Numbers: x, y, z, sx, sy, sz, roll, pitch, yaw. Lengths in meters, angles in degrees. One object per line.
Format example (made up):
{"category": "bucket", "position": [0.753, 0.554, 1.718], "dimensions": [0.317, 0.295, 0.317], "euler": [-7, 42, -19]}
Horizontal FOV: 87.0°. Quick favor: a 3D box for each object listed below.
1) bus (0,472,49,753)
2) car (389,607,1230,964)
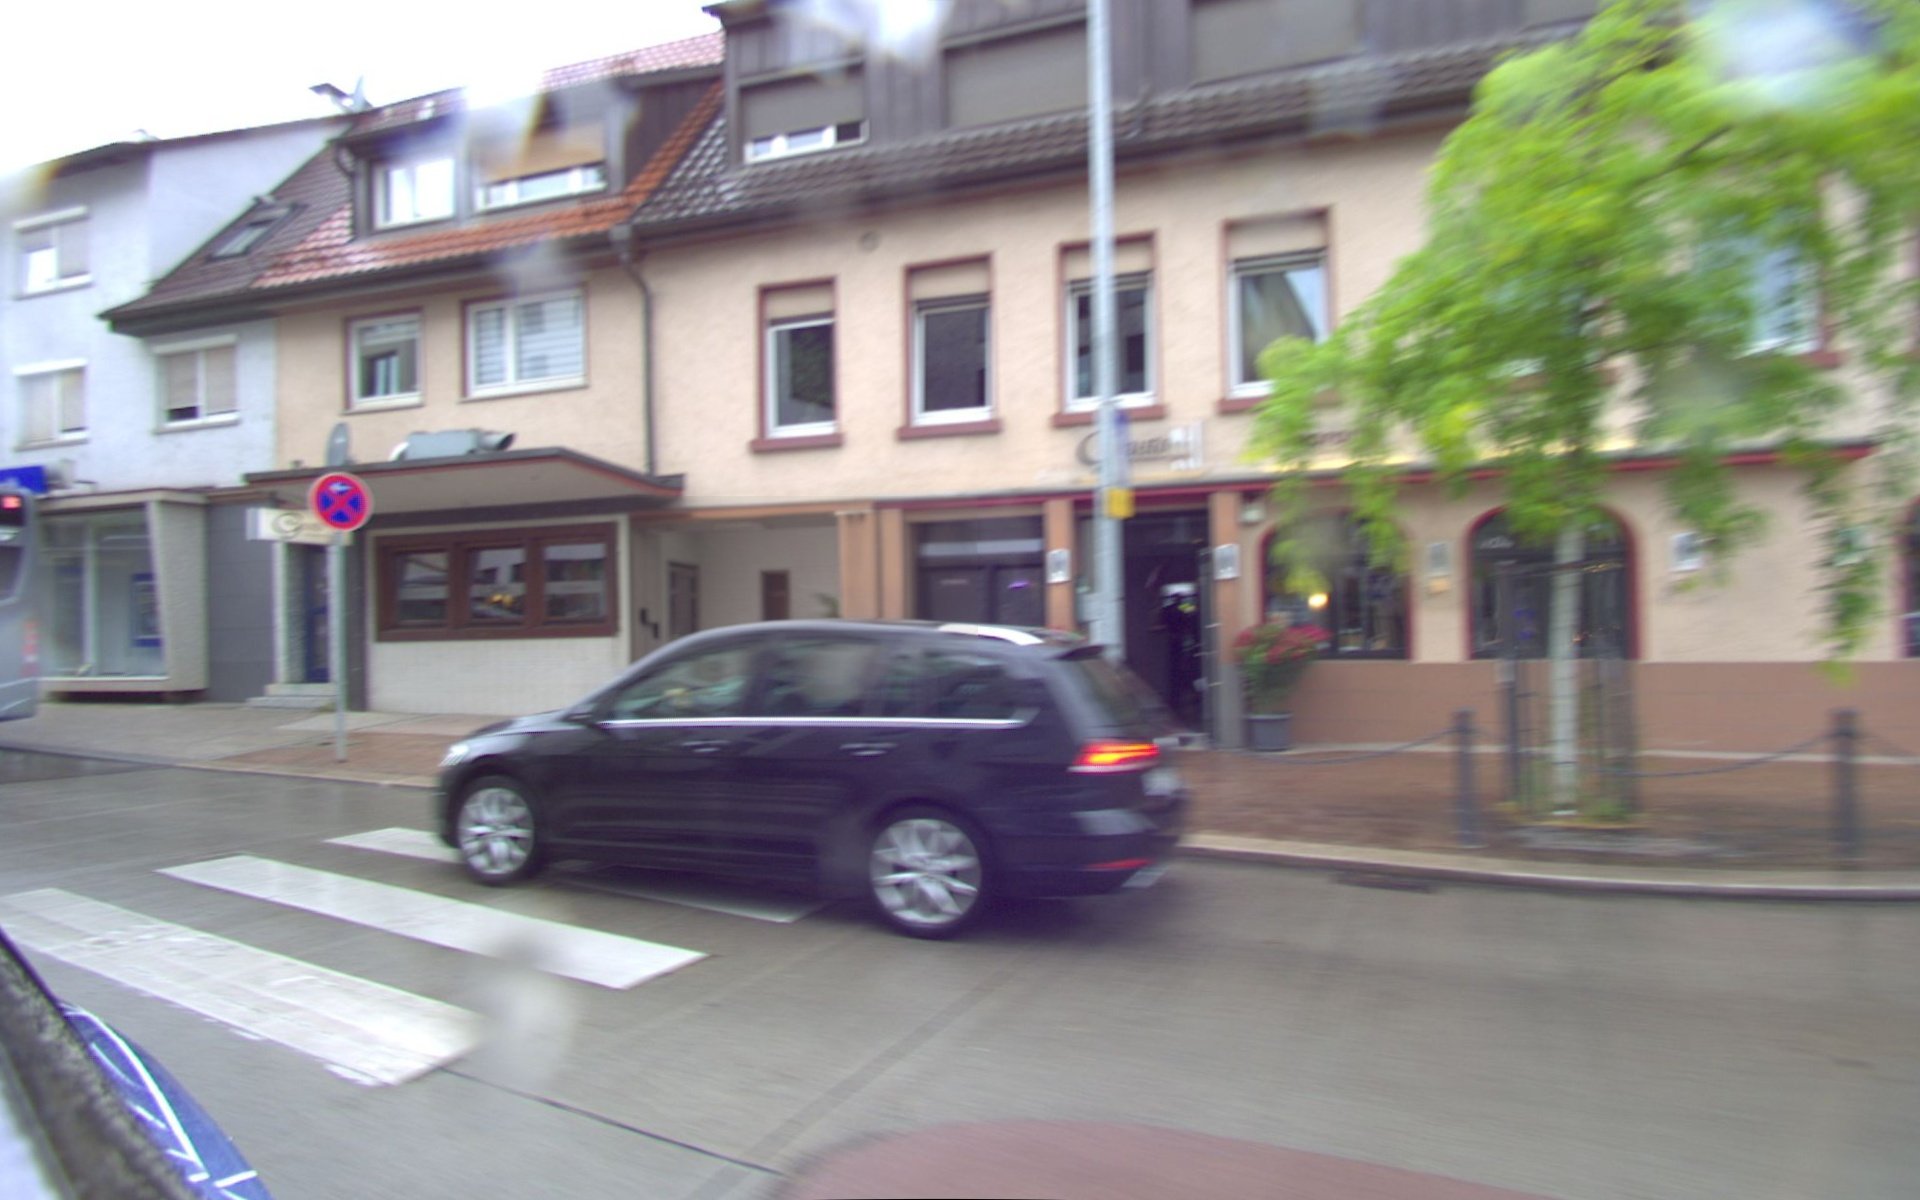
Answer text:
{"category": "bus", "position": [-15.914, 0.177, 12.419], "dimensions": [10.874, 3.103, 2.712], "euler": [-1, -1, 23]}
{"category": "car", "position": [-0.847, 0.829, 5.690], "dimensions": [4.436, 1.442, 1.659], "euler": [-1, -3, 21]}
